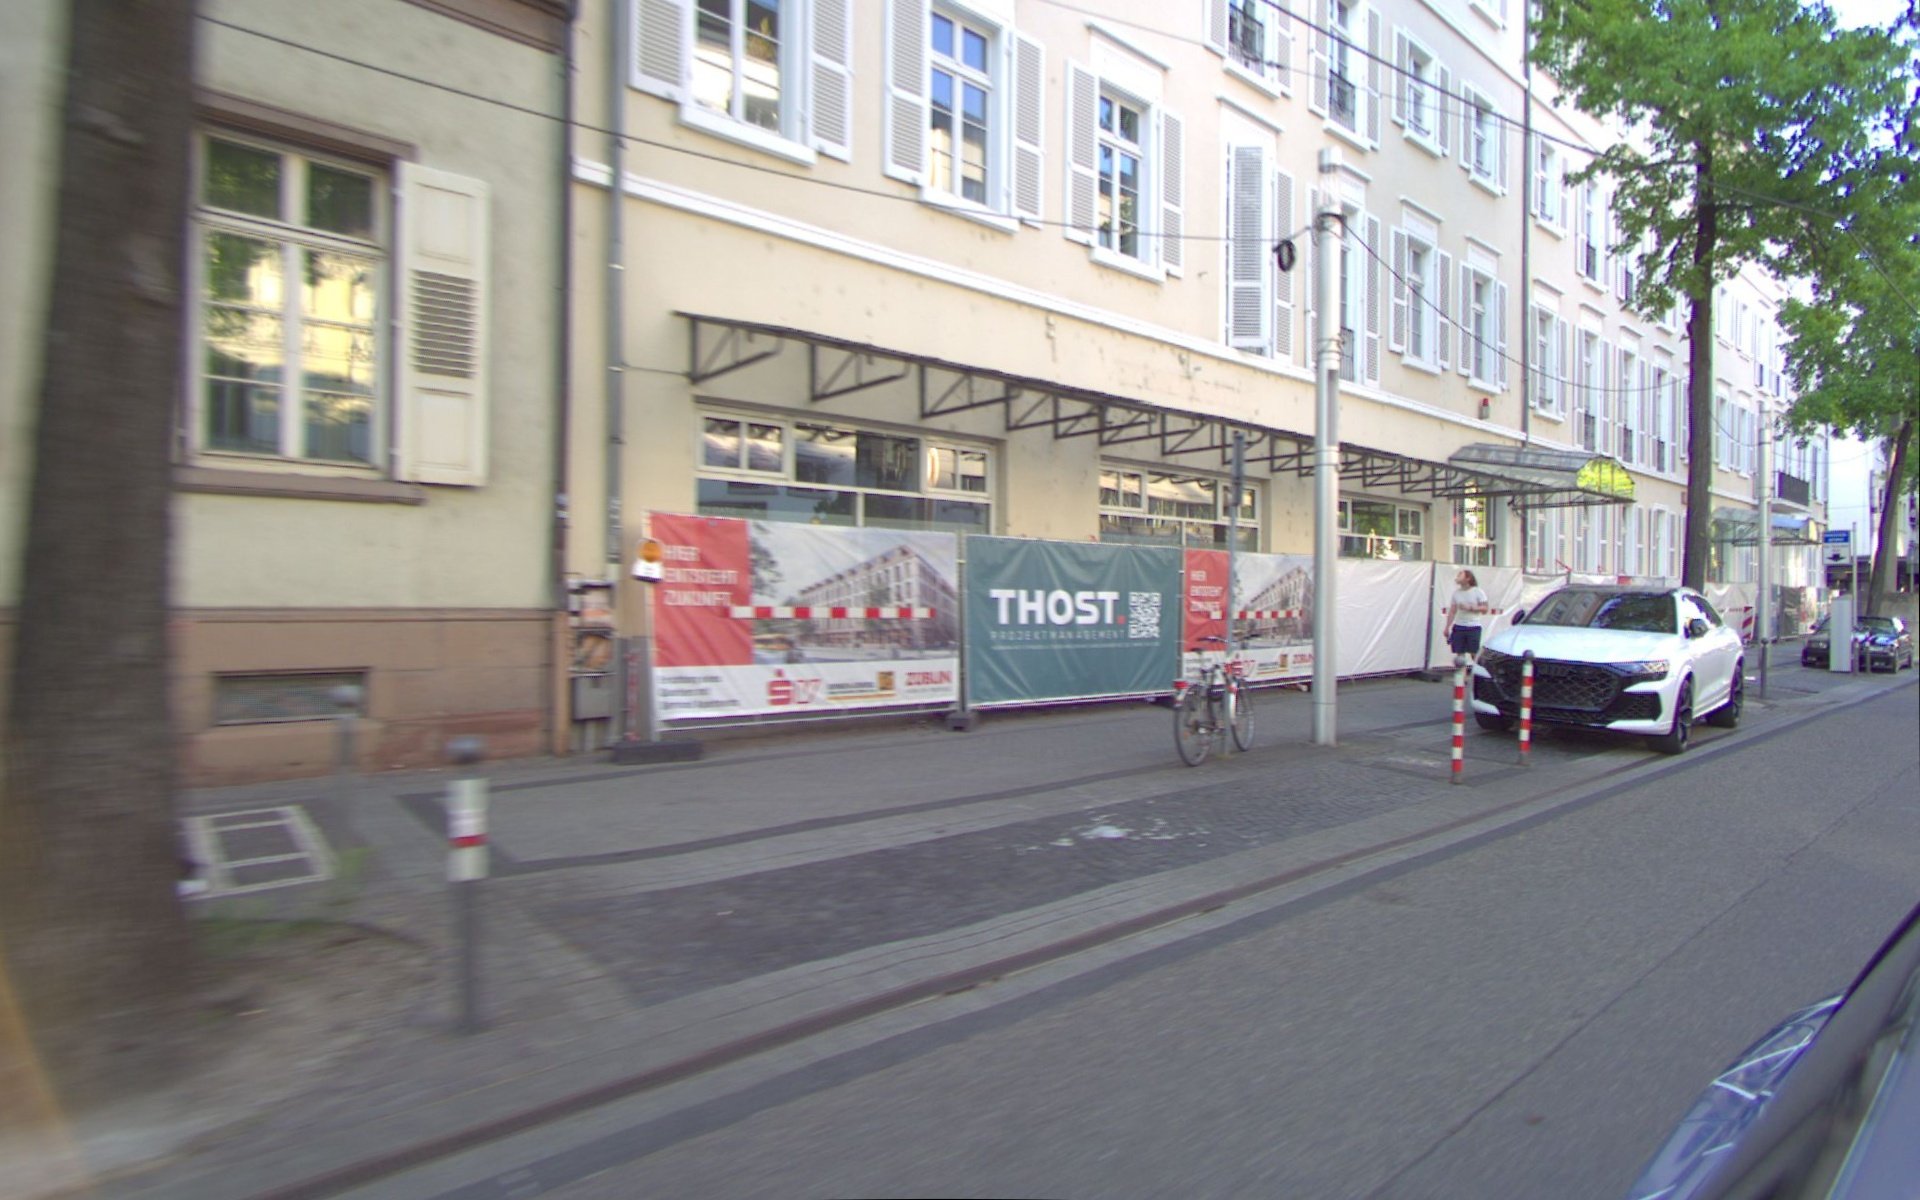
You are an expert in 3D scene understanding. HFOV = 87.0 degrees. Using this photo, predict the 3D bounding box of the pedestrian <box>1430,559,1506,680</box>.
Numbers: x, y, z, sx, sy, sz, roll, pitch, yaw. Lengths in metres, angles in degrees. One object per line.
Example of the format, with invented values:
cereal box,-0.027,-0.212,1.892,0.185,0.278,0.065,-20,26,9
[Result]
pedestrian,8.319,0.299,16.564,1.034,1.910,0.714,0,1,-40

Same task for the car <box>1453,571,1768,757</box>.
car,7.859,0.556,11.996,4.885,1.708,2.000,-1,3,-43

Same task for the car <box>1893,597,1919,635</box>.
car,44.463,0.727,45.093,1.831,1.628,3.944,-2,2,-33

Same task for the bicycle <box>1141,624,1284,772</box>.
bicycle,2.299,0.813,9.049,0.417,1.114,1.960,2,2,40

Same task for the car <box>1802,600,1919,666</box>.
car,21.659,0.713,24.037,4.253,1.327,1.798,0,3,-40

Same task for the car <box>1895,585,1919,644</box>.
car,31.927,0.475,32.554,4.236,1.815,1.958,0,2,-37

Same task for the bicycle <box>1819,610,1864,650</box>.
bicycle,25.999,0.871,29.878,0.650,1.084,1.656,3,2,30

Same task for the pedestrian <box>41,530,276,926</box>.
pedestrian,-3.608,0.510,4.582,0.784,1.593,0.650,0,0,-40
